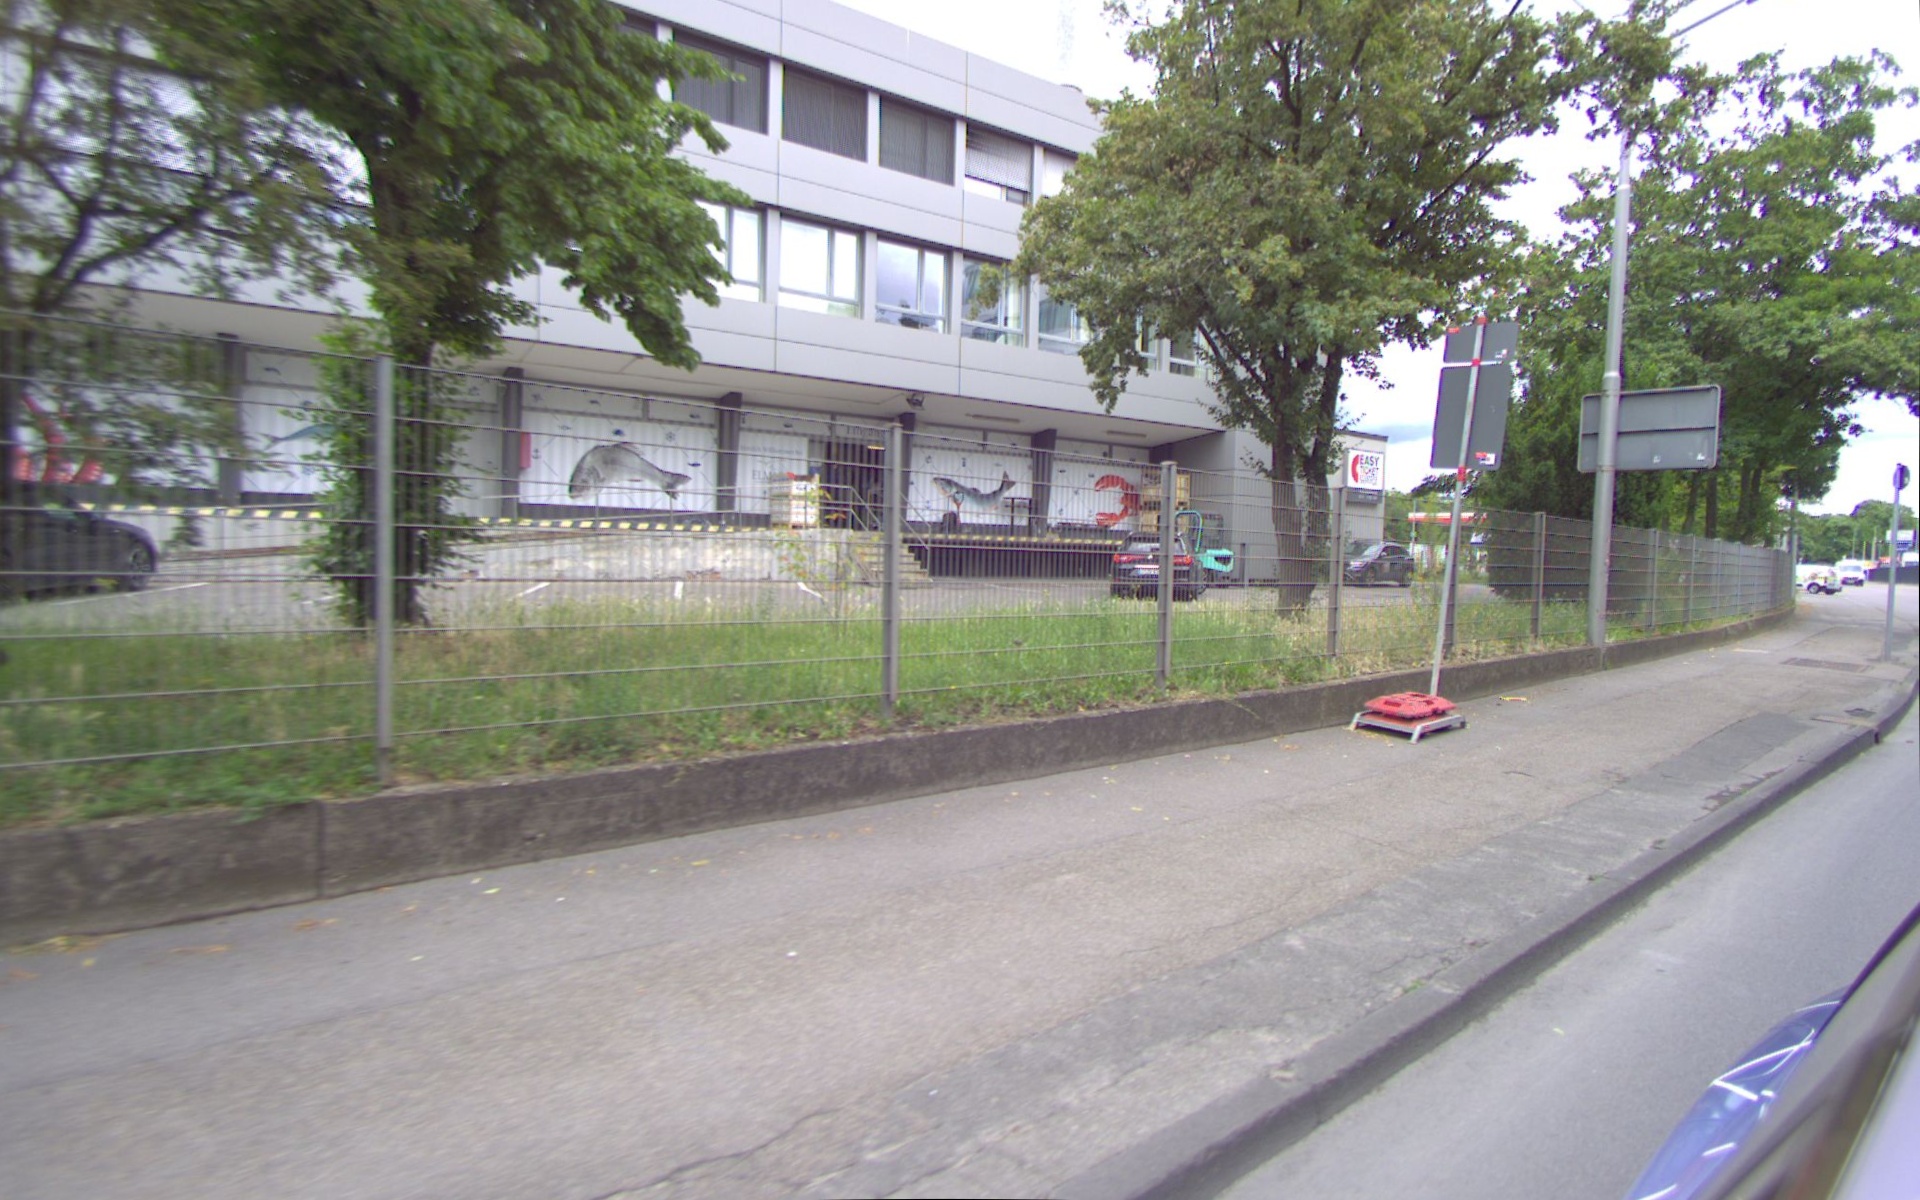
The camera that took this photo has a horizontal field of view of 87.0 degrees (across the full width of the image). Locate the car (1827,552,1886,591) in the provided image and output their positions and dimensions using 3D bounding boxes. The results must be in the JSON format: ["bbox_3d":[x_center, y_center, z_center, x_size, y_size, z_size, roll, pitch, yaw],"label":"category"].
[{"bbox_3d":[88.340,-2.816,99.840,3.321,3.651,8.560,3,3,36],"label":"car"}]

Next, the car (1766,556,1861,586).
[{"bbox_3d":[53.672,-1.832,63.744,1.776,1.786,4.215,0,2,-23],"label":"car"}]

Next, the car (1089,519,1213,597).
[{"bbox_3d":[4.115,-1.000,22.544,1.963,1.491,4.694,2,4,2],"label":"car"}]

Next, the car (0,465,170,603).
[{"bbox_3d":[-12.066,-0.829,12.363,1.981,1.553,4.873,1,3,-14],"label":"car"}]

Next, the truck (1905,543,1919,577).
[{"bbox_3d":[123.659,-5.004,129.695,3.361,4.209,5.540,6,5,43],"label":"truck"}]

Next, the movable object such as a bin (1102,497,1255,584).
[{"bbox_3d":[6.264,-1.741,29.379,1.916,2.333,4.000,0,4,-37],"label":"movable object such as a bin"}]

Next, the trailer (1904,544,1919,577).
[{"bbox_3d":[128.316,-5.098,134.773,3.360,4.209,13.635,6,5,42],"label":"trailer"}]

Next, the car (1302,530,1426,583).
[{"bbox_3d":[14.132,-1.516,35.342,4.359,1.585,2.001,0,5,-38],"label":"car"}]
